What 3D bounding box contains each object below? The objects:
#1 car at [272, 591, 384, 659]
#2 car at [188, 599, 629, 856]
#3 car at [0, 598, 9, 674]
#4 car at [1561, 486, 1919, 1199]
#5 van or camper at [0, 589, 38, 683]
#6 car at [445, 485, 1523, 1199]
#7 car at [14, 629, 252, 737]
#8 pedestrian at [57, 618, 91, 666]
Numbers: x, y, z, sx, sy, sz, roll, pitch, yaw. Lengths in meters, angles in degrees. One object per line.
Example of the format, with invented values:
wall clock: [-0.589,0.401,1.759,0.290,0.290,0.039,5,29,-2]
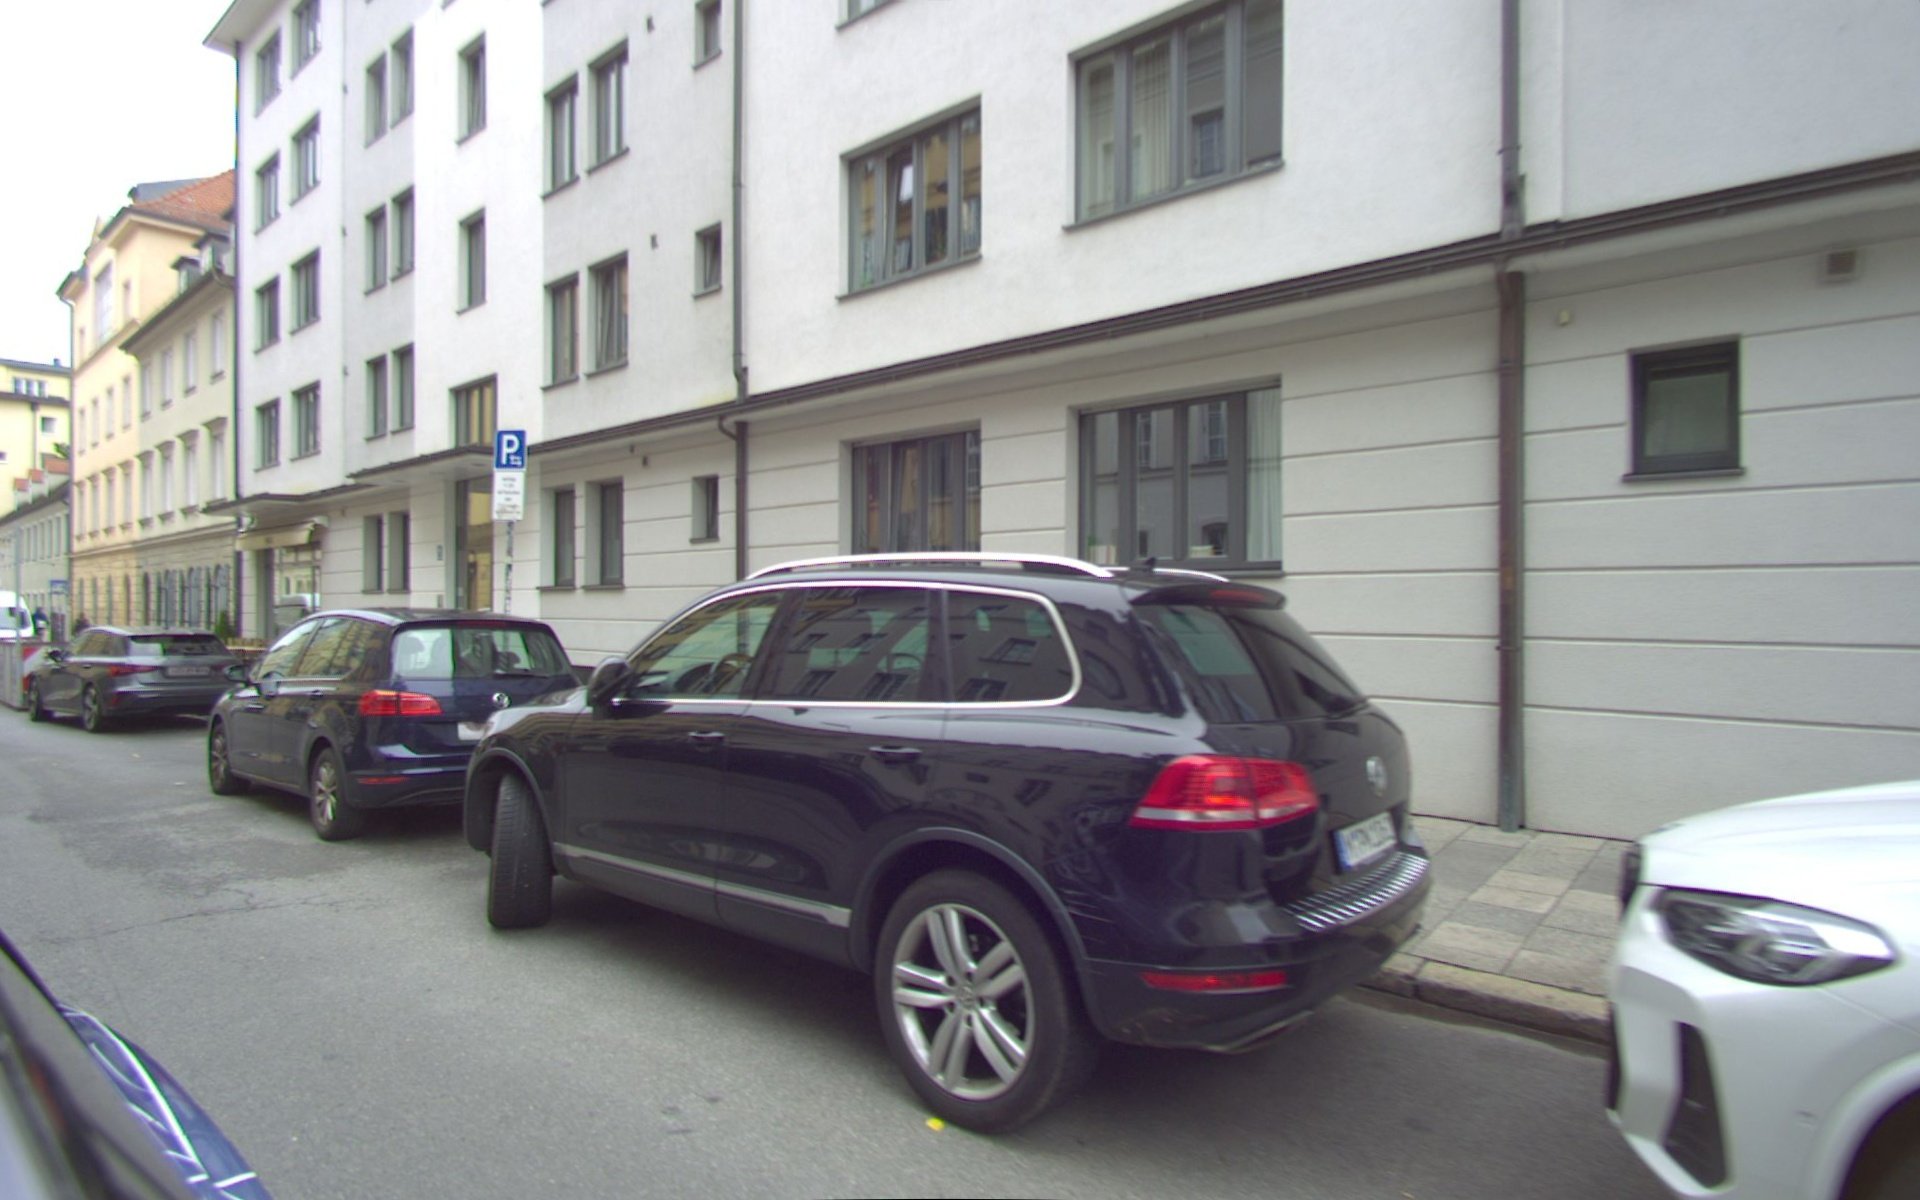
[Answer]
car: [-20.636,0.777,32.983,4.399,2.029,1.972,-1,0,42]
car: [-4.598,0.840,8.172,4.156,1.551,1.755,-2,-3,41]
car: [-30.117,1.088,30.318,4.557,2.218,1.839,-1,-1,40]
car: [3.510,0.639,1.170,4.587,1.671,1.853,-2,-3,41]
van or camper: [-26.210,0.945,26.971,5.478,2.328,1.972,-1,0,43]
car: [-0.303,0.674,4.393,4.517,1.701,1.853,-2,-3,41]
car: [-12.080,1.122,14.715,4.049,1.365,1.625,-1,-3,35]
pedestrian: [-32.047,1.509,36.598,1.021,1.725,0.797,-2,-2,42]
